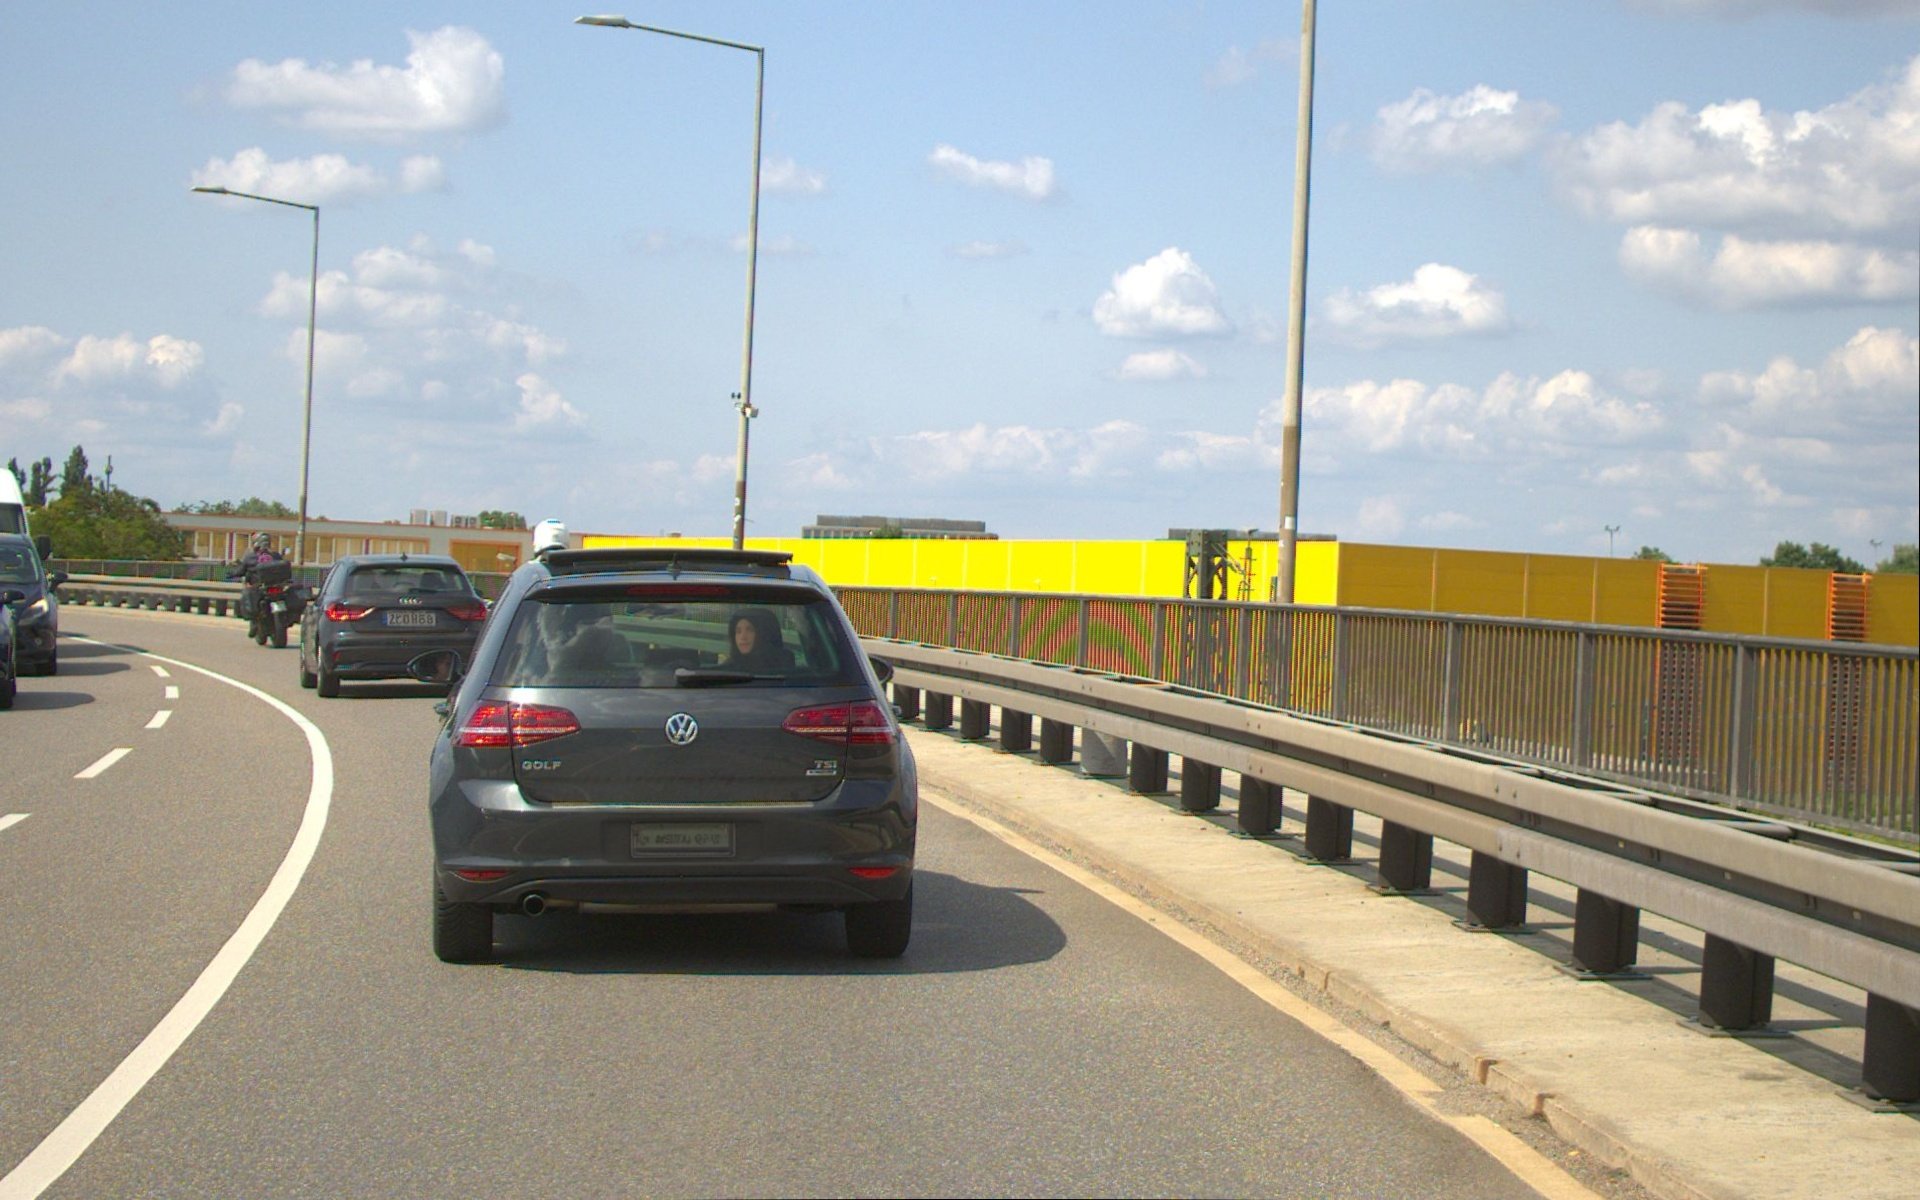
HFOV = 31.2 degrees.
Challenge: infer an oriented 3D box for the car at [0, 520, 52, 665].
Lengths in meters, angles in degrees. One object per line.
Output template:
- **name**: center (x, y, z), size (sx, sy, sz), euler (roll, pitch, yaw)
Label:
- **car**: center (-11.649, -0.118, 40.604), size (1.717, 1.626, 4.429), euler (0, 1, -16)

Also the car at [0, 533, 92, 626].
- **car**: center (-15.640, -0.364, 56.762), size (1.766, 1.455, 4.299), euler (-1, 1, -24)

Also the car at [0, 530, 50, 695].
- **car**: center (-9.598, 0.076, 32.149), size (1.658, 1.449, 4.328), euler (0, 1, -9)

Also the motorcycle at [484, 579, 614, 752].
- **motorcycle**: center (-2.959, 0.442, 24.573), size (0.789, 1.128, 2.400), euler (1, 1, -10)

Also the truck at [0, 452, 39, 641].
- **truck**: center (-14.328, -0.771, 47.918), size (1.993, 2.499, 5.949), euler (-1, 1, -24)

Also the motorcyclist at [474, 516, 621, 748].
- **motorcyclist**: center (-2.972, 0.219, 24.666), size (0.965, 1.615, 1.125), euler (1, 1, -10)

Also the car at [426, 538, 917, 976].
- **car**: center (-1.206, 0.517, 13.580), size (1.642, 1.474, 3.873), euler (1, 1, -7)

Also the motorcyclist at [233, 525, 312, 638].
- **motorcyclist**: center (-9.911, -0.271, 49.508), size (0.965, 1.590, 1.125), euler (1, 1, -18)

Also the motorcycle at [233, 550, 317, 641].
- **motorcycle**: center (-9.845, -0.084, 49.342), size (0.887, 1.243, 2.400), euler (1, 1, -18)

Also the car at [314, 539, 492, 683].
- **car**: center (-5.610, 0.108, 34.940), size (1.681, 1.383, 3.740), euler (0, 0, -8)
